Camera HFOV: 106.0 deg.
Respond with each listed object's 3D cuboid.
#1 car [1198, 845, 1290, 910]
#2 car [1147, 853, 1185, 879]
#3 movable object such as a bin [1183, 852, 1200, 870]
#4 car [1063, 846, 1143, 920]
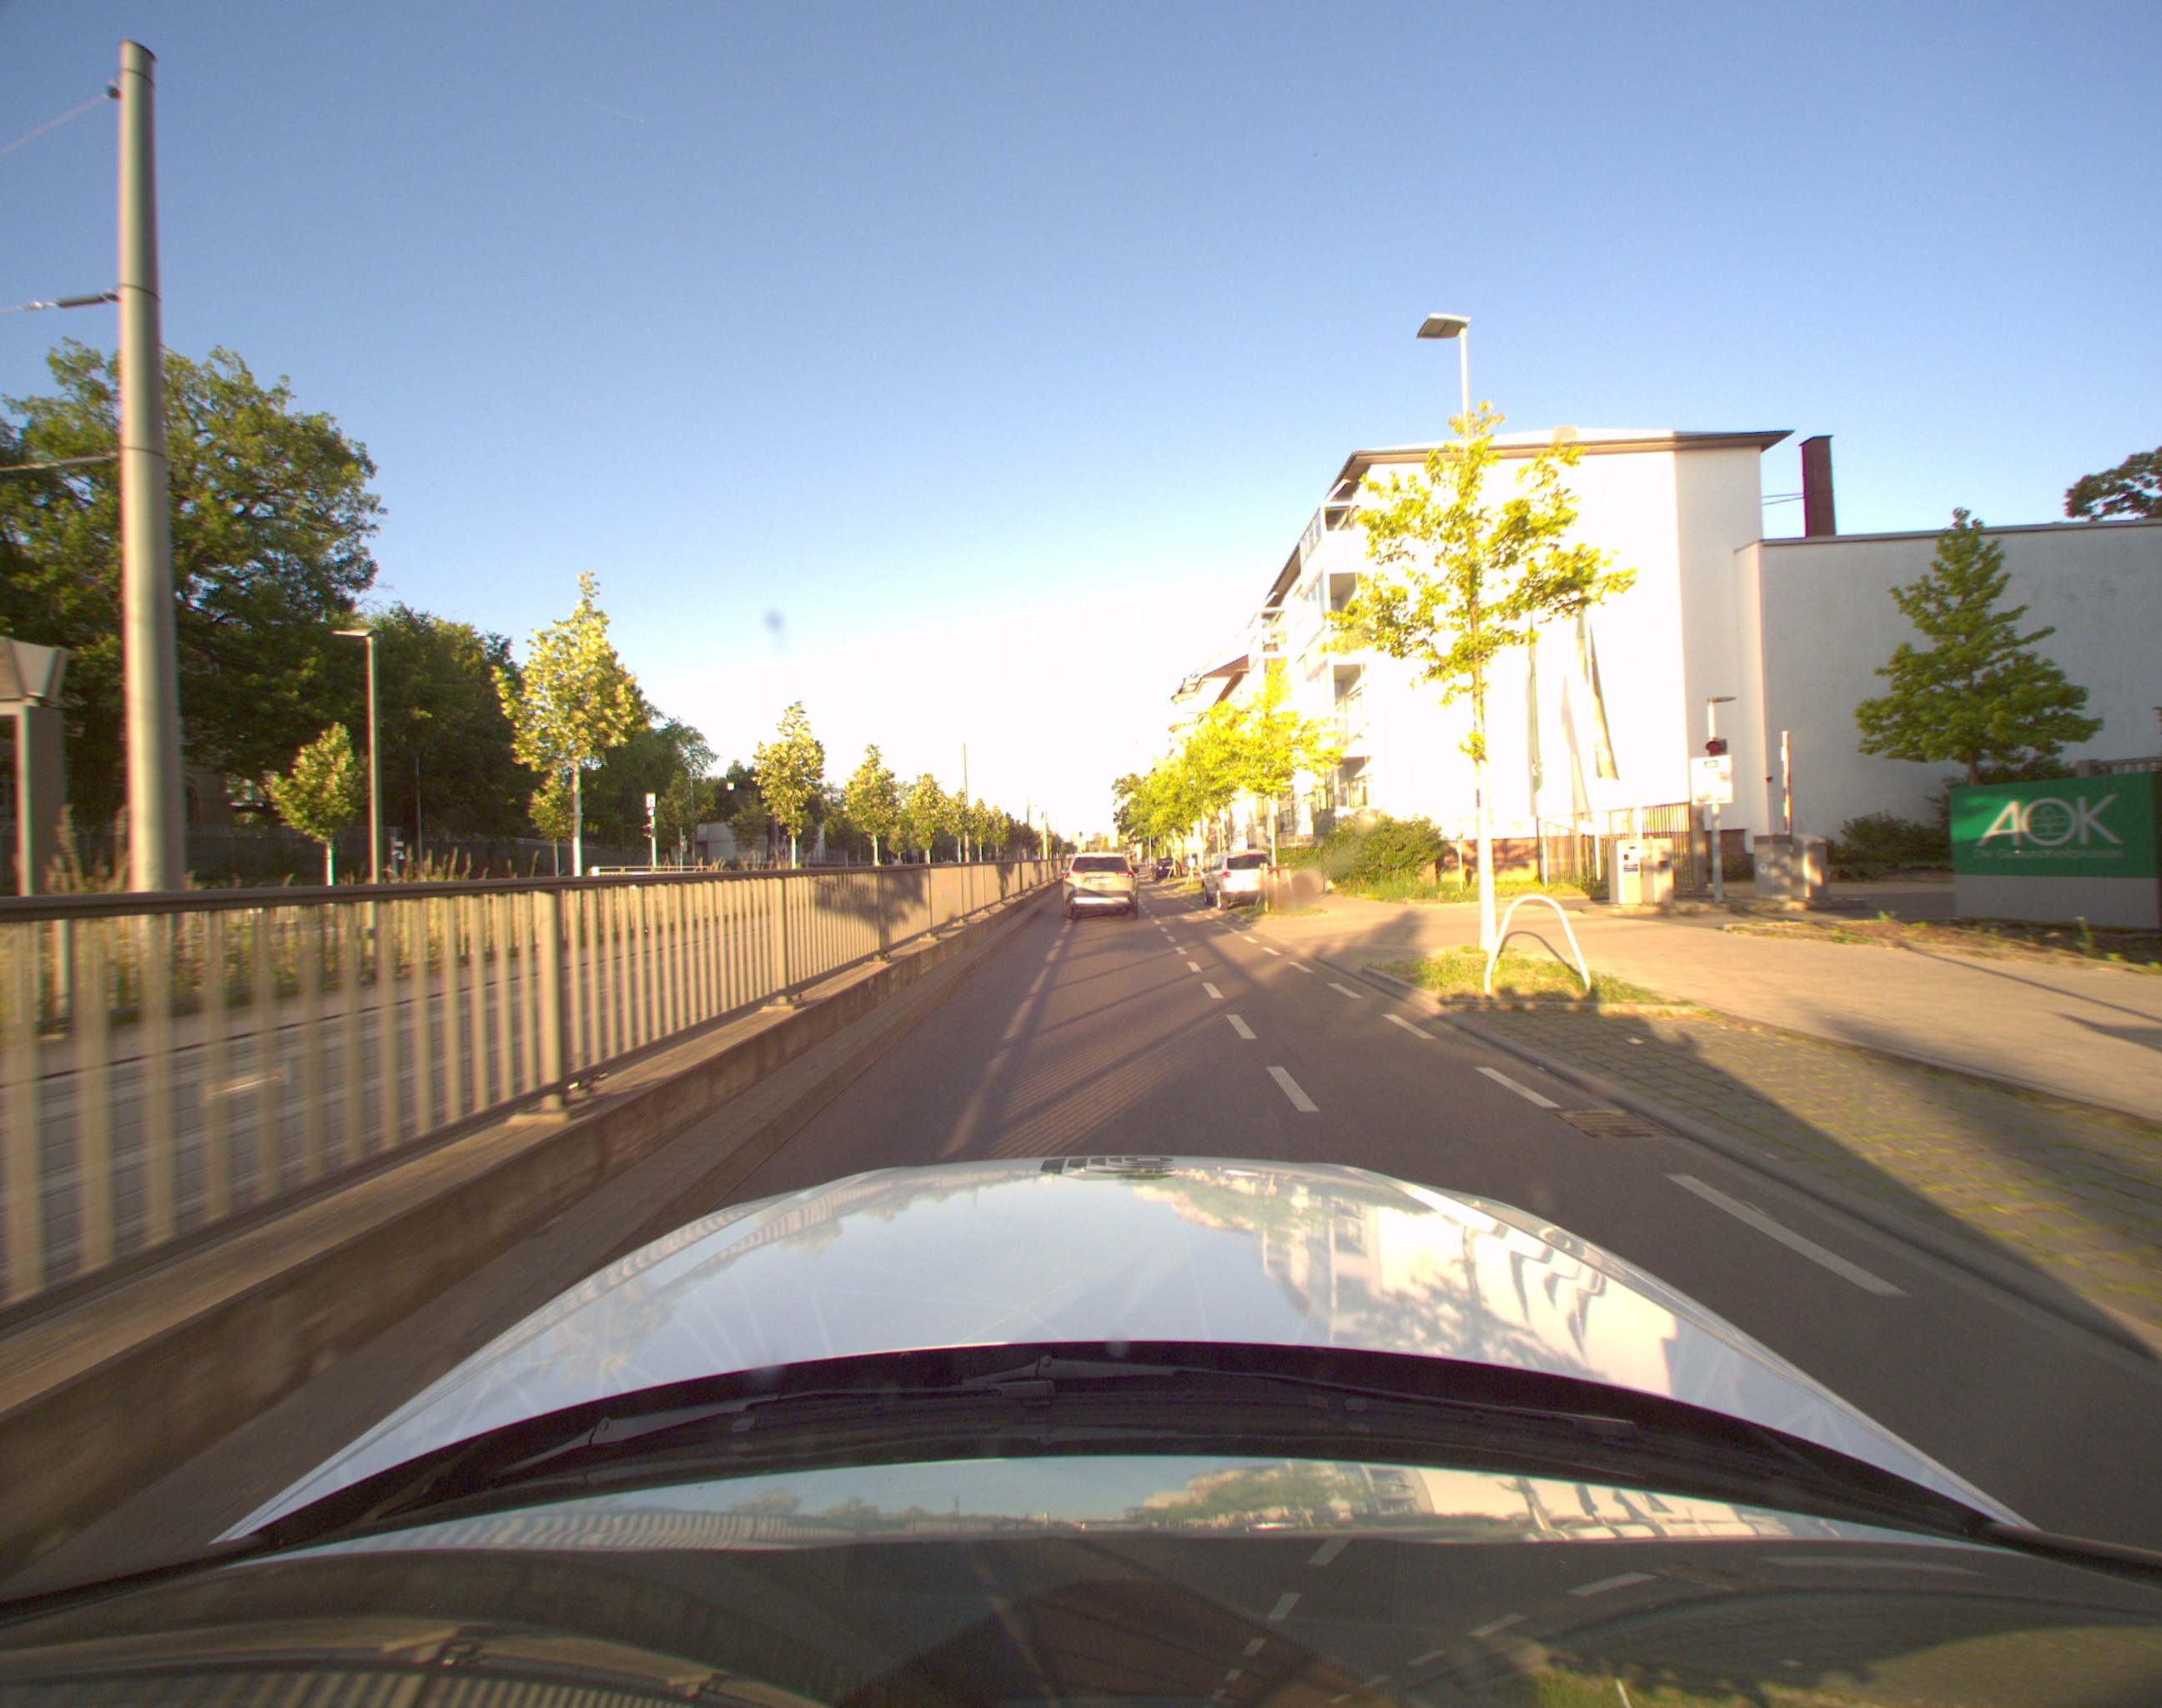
[{"bbox_3d":[4.774,0.631,24.438,1.848,1.706,4.253,-2,0,0],"label":"car"},{"bbox_3d":[5.562,0.769,53.745,1.788,1.471,4.442,-5,0,-1],"label":"car"},{"bbox_3d":[9.447,0.585,69.649,1.256,1.462,1.123,-2,0,-2],"label":"movable object such as a bin"},{"bbox_3d":[0.513,0.694,21.115,1.852,1.714,4.191,0,0,0],"label":"car"}]
